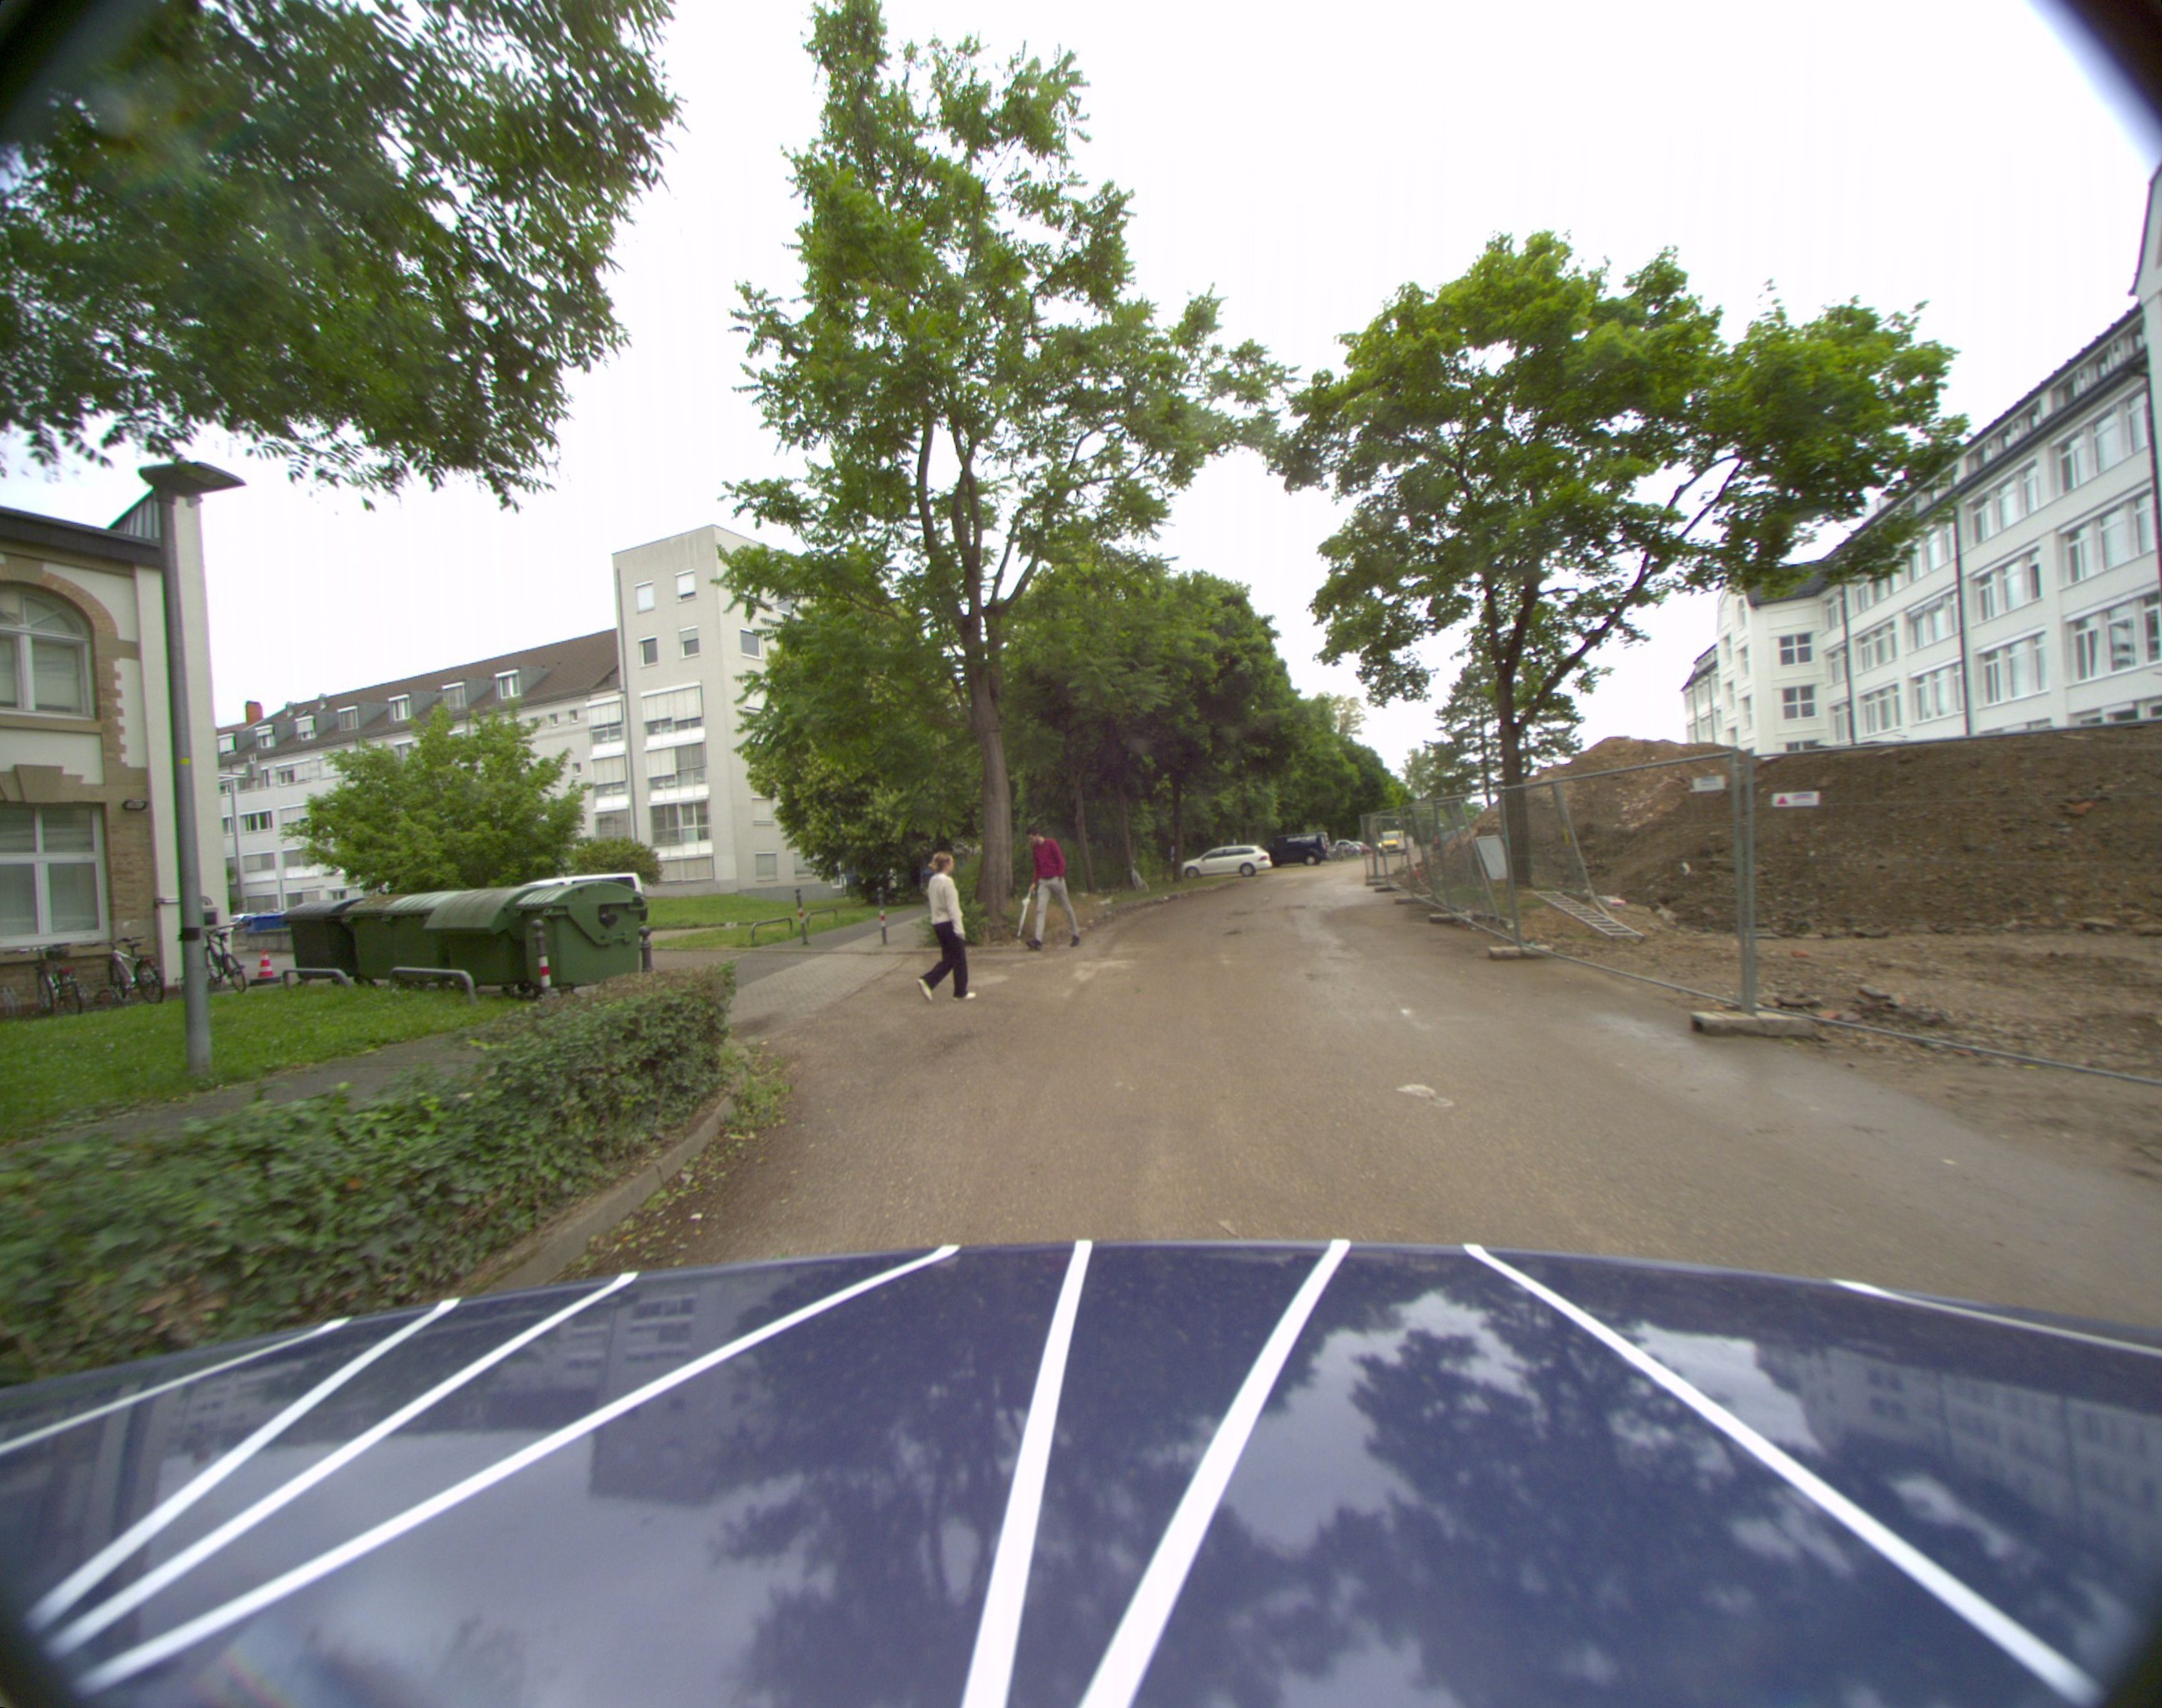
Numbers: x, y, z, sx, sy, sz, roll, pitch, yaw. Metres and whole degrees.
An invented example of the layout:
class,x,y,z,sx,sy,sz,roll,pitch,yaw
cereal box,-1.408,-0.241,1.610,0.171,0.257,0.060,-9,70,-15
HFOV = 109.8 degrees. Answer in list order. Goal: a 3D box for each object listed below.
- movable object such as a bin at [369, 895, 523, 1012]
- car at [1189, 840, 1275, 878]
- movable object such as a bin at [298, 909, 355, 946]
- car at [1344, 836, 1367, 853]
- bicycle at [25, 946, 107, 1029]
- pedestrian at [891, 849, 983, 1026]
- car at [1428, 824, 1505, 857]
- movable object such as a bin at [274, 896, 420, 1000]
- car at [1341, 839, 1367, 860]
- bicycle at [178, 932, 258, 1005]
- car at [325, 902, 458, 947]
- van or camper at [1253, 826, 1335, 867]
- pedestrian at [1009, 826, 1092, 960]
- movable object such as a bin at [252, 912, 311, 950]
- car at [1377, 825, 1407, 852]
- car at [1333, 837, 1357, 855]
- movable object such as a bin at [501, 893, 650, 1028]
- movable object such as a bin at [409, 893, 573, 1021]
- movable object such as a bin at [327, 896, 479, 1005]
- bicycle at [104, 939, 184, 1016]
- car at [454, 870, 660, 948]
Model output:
class,x,y,z,sx,sy,sz,roll,pitch,yaw
movable object such as a bin,-8.860,1.353,10.629,1.291,1.442,1.110,-3,1,24
car,7.260,0.249,36.448,3.879,1.565,1.754,-3,1,16
movable object such as a bin,-29.978,2.906,30.198,1.225,1.299,1.183,-4,0,26
car,28.651,-1.029,79.242,1.996,1.586,4.006,-3,0,22
bicycle,-15.125,1.956,11.317,1.740,1.108,0.461,-3,0,29
pedestrian,-1.559,0.856,8.203,0.752,1.771,0.662,-4,1,-23
car,24.111,-0.830,47.561,3.989,1.827,2.004,-3,0,35
movable object such as a bin,-11.445,1.439,11.876,1.359,1.442,1.110,-4,1,22
car,22.118,-0.411,61.683,1.818,1.586,4.005,-3,0,19
bicycle,-14.480,1.899,12.738,1.740,1.108,0.461,-3,0,29
car,-33.868,3.445,37.470,1.996,1.724,4.347,-3,0,22
van or camper,13.332,-0.463,47.605,4.490,2.245,2.003,-3,1,28
pedestrian,-0.471,0.609,12.302,0.793,2.052,1.203,-3,0,23
movable object such as a bin,-30.548,2.944,29.039,1.225,1.299,1.183,-4,0,26
car,25.234,-1.222,61.758,2.121,2.002,4.005,-3,0,21
car,25.054,-0.759,72.116,1.996,1.586,4.005,-3,0,20
movable object such as a bin,-6.179,1.240,9.294,1.272,1.426,1.074,-3,1,37
movable object such as a bin,-7.591,1.292,9.812,1.283,1.442,1.110,-3,1,24
movable object such as a bin,-10.086,1.412,11.335,1.324,1.442,1.110,-4,1,20
bicycle,-14.837,1.921,12.021,1.740,1.108,0.461,-3,0,29
car,-15.989,1.623,23.506,1.897,1.862,4.781,-6,-1,29
